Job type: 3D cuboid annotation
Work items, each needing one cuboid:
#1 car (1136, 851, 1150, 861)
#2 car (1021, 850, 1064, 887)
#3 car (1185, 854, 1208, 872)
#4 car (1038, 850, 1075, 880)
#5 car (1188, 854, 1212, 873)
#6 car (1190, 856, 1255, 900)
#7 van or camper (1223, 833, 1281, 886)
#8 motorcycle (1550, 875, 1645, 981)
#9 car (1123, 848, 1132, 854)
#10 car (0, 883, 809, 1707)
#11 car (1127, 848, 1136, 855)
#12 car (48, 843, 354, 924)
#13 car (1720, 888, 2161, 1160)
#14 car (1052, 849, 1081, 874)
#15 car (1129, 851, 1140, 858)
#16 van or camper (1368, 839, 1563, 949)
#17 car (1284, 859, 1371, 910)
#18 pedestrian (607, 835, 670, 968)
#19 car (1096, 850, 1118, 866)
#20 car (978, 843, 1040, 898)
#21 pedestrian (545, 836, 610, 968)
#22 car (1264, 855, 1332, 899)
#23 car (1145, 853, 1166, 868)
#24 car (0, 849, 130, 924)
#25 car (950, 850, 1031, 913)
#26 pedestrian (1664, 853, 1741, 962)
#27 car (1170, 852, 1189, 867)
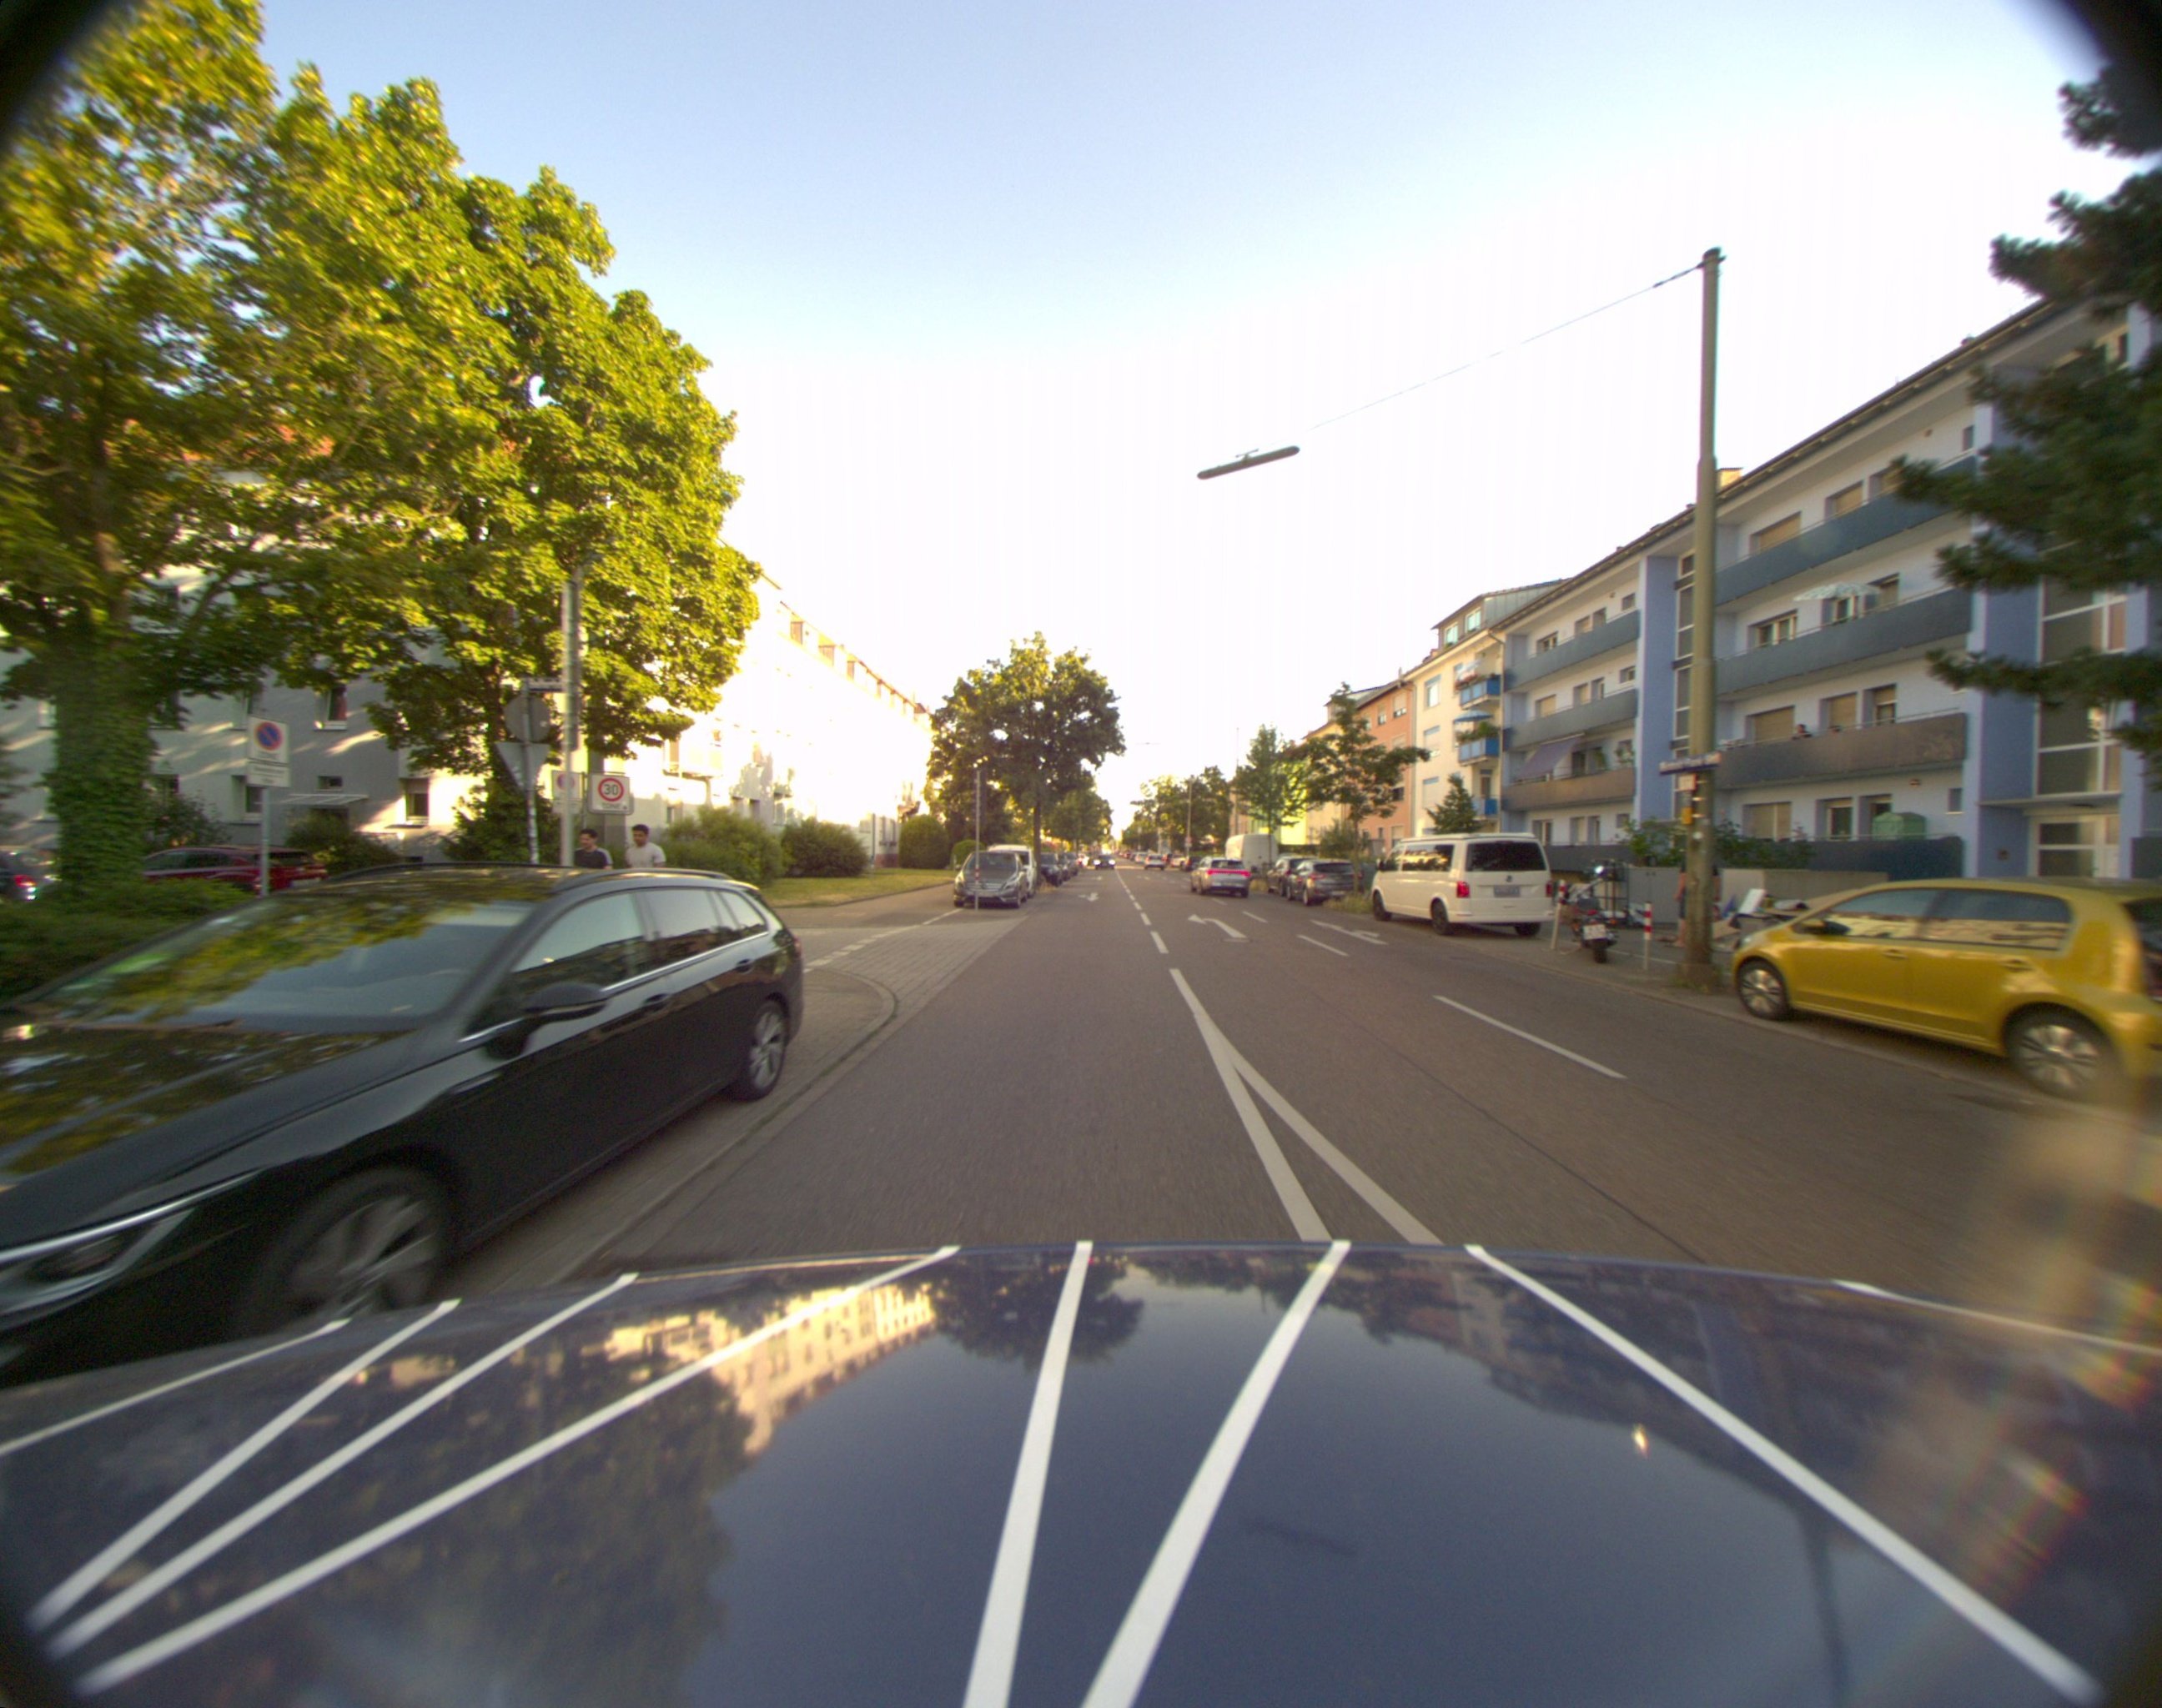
[{"bbox_3d":[8.772,0.314,108.312,1.808,1.390,3.957,1,0,2],"label":"car"},{"bbox_3d":[-1.758,0.646,35.676,1.798,1.558,3.671,2,1,-1],"label":"car"},{"bbox_3d":[9.896,0.727,65.156,1.762,1.439,3.787,1,0,7],"label":"car"},{"bbox_3d":[-1.364,0.576,43.134,1.797,1.558,3.672,2,1,2],"label":"car"},{"bbox_3d":[9.566,0.723,61.209,1.762,1.439,3.592,1,1,7],"label":"car"},{"bbox_3d":[5.243,0.845,28.555,1.726,1.473,3.956,2,1,1],"label":"car"},{"bbox_3d":[8.696,0.249,39.003,1.917,2.528,5.335,1,1,2],"label":"van or camper"},{"bbox_3d":[7.804,1.051,11.576,0.792,1.393,2.021,1,1,23],"label":"motorcycle"},{"bbox_3d":[11.128,-0.748,182.322,1.808,1.390,3.956,0,0,1],"label":"car"},{"bbox_3d":[-2.875,0.941,3.305,1.738,1.435,4.339,2,0,1],"label":"car"},{"bbox_3d":[10.353,-0.482,155.893,1.808,1.390,3.957,0,0,2],"label":"car"},{"bbox_3d":[-18.745,0.600,16.402,3.999,1.547,1.998,1,3,-5],"label":"car"},{"bbox_3d":[7.366,1.092,6.171,1.577,1.460,3.491,0,0,4],"label":"car"},{"bbox_3d":[-0.962,0.477,52.452,1.797,1.558,3.672,2,1,2],"label":"car"},{"bbox_3d":[9.702,0.080,138.309,1.808,1.390,3.957,1,0,2],"label":"car"},{"bbox_3d":[7.985,0.720,16.408,1.808,2.002,4.864,0,0,1],"label":"van or camper"},{"bbox_3d":[8.023,0.948,25.124,1.808,1.489,3.957,0,0,4],"label":"car"},{"bbox_3d":[-5.849,0.612,10.054,0.593,1.718,0.405,1,1,2],"label":"pedestrian"},{"bbox_3d":[2.493,0.390,73.694,1.998,1.525,4.000,1,0,1],"label":"car"},{"bbox_3d":[-2.483,0.538,27.065,1.798,1.761,3.999,2,1,-1],"label":"car"},{"bbox_3d":[-6.722,0.626,10.153,0.593,1.718,0.405,1,1,2],"label":"pedestrian"},{"bbox_3d":[8.541,0.862,30.214,1.808,1.582,3.957,0,0,4],"label":"car"},{"bbox_3d":[7.157,0.584,73.312,1.808,1.390,3.957,0,0,4],"label":"car"},{"bbox_3d":[-23.328,0.632,15.920,3.999,1.390,1.998,1,3,-5],"label":"car"},{"bbox_3d":[-2.477,0.704,21.673,1.798,1.577,3.999,2,1,-1],"label":"car"},{"bbox_3d":[10.160,0.850,12.446,0.697,1.727,0.647,1,1,2],"label":"pedestrian"},{"bbox_3d":[10.787,0.601,83.125,1.808,1.588,3.957,0,0,4],"label":"car"}]
